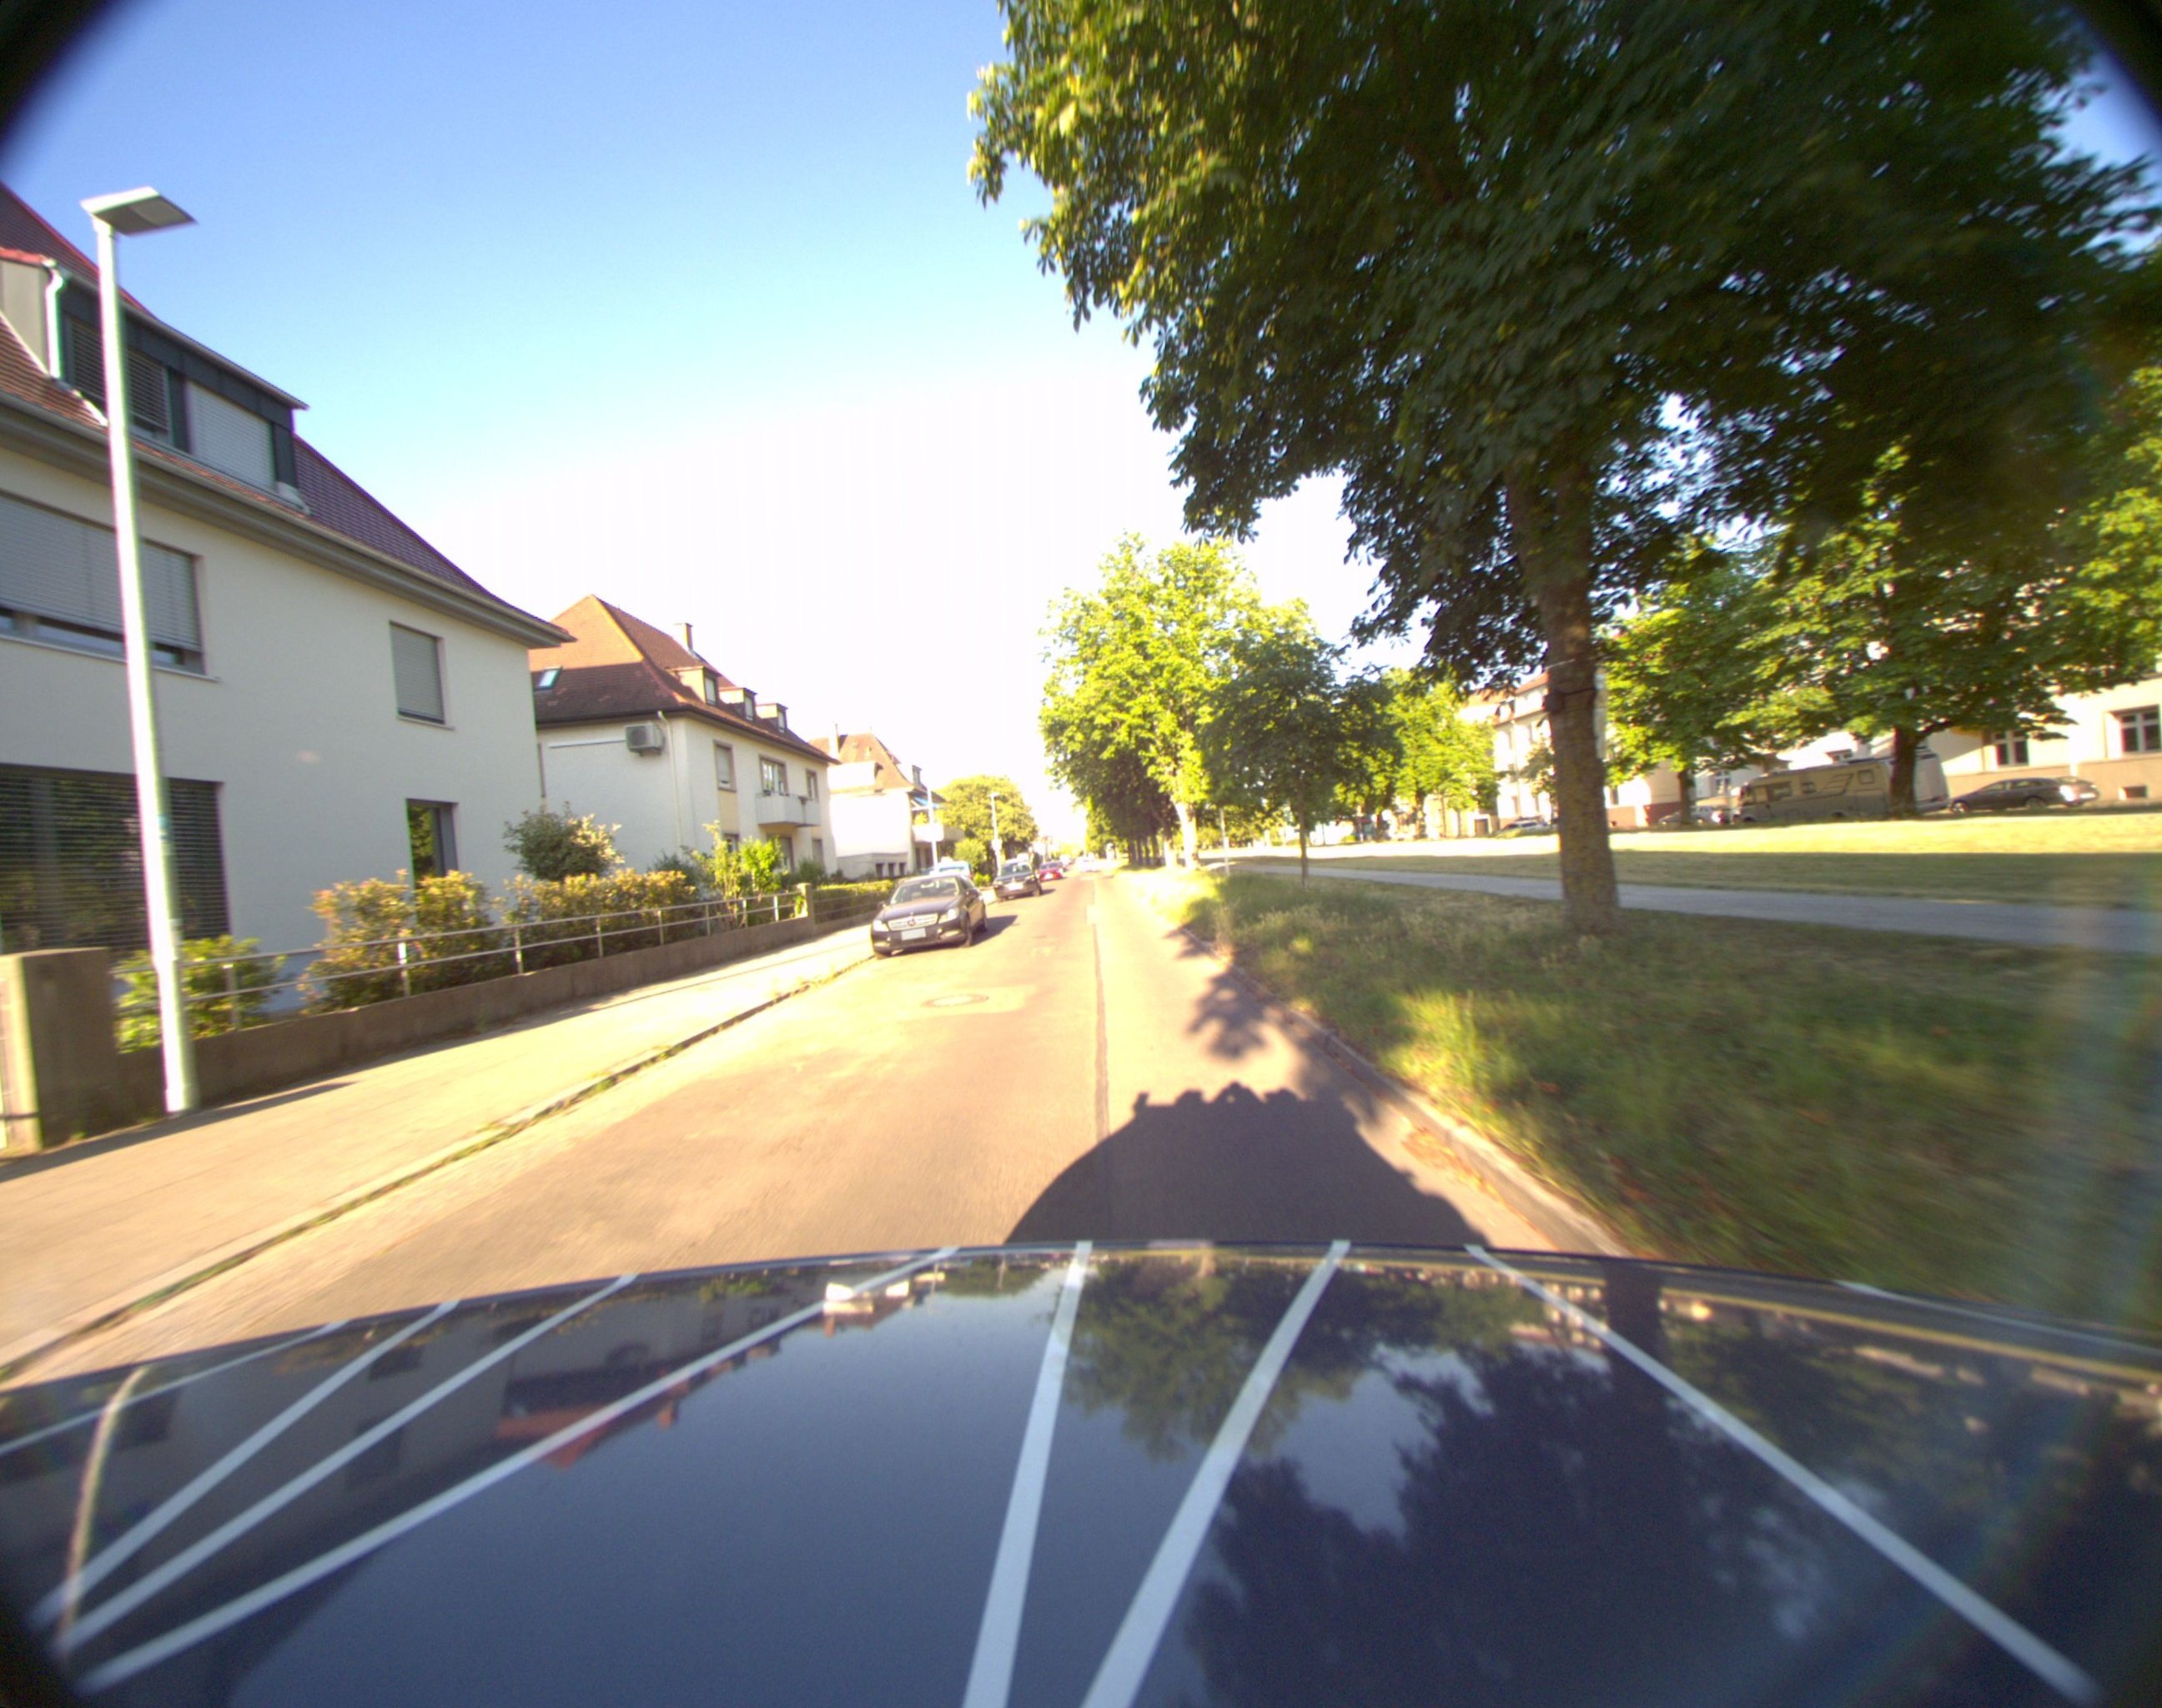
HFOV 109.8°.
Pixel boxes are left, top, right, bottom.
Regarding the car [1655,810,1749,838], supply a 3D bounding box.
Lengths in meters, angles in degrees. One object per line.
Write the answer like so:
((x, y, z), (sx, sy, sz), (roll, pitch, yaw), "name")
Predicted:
((40.272, -1.899, 49.467), (1.999, 1.445, 4.875), (-5, 0, -2), "car")

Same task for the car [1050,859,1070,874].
((-2.598, 1.488, 94.037), (1.998, 1.575, 4.347), (-8, 0, 1), "car")

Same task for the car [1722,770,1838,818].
((40.022, -3.385, 43.694), (1.999, 2.189, 4.875), (-5, 0, 0), "car")

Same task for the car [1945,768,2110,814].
((40.189, -2.634, 32.444), (1.998, 1.455, 4.000), (-6, 0, 1), "car")

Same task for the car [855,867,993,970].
((-3.004, 1.171, 15.521), (1.784, 1.490, 4.397), (-8, 0, -1), "car")

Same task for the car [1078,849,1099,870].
((0.818, 0.556, 80.151), (1.998, 2.002, 4.000), (-6, 0, 1), "car")

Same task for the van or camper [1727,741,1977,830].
((34.461, -2.902, 34.605), (3.262, 3.092, 7.896), (-5, 0, 1), "van or camper")

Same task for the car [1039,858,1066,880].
((-2.208, 1.135, 59.239), (1.824, 1.486, 4.224), (-5, 0, 0), "car")

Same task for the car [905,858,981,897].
((-8.055, 1.350, 44.602), (3.998, 1.917, 2.000), (-5, 0, -3), "car")

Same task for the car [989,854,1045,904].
((-2.708, 1.018, 33.183), (1.862, 1.710, 4.467), (-10, 0, -1), "car")

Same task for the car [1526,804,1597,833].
((34.408, -2.489, 54.558), (1.998, 1.680, 4.876), (-5, 0, 1), "car")

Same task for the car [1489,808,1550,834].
((34.636, -2.553, 60.205), (1.998, 1.680, 4.876), (-5, 0, 1), "car")
